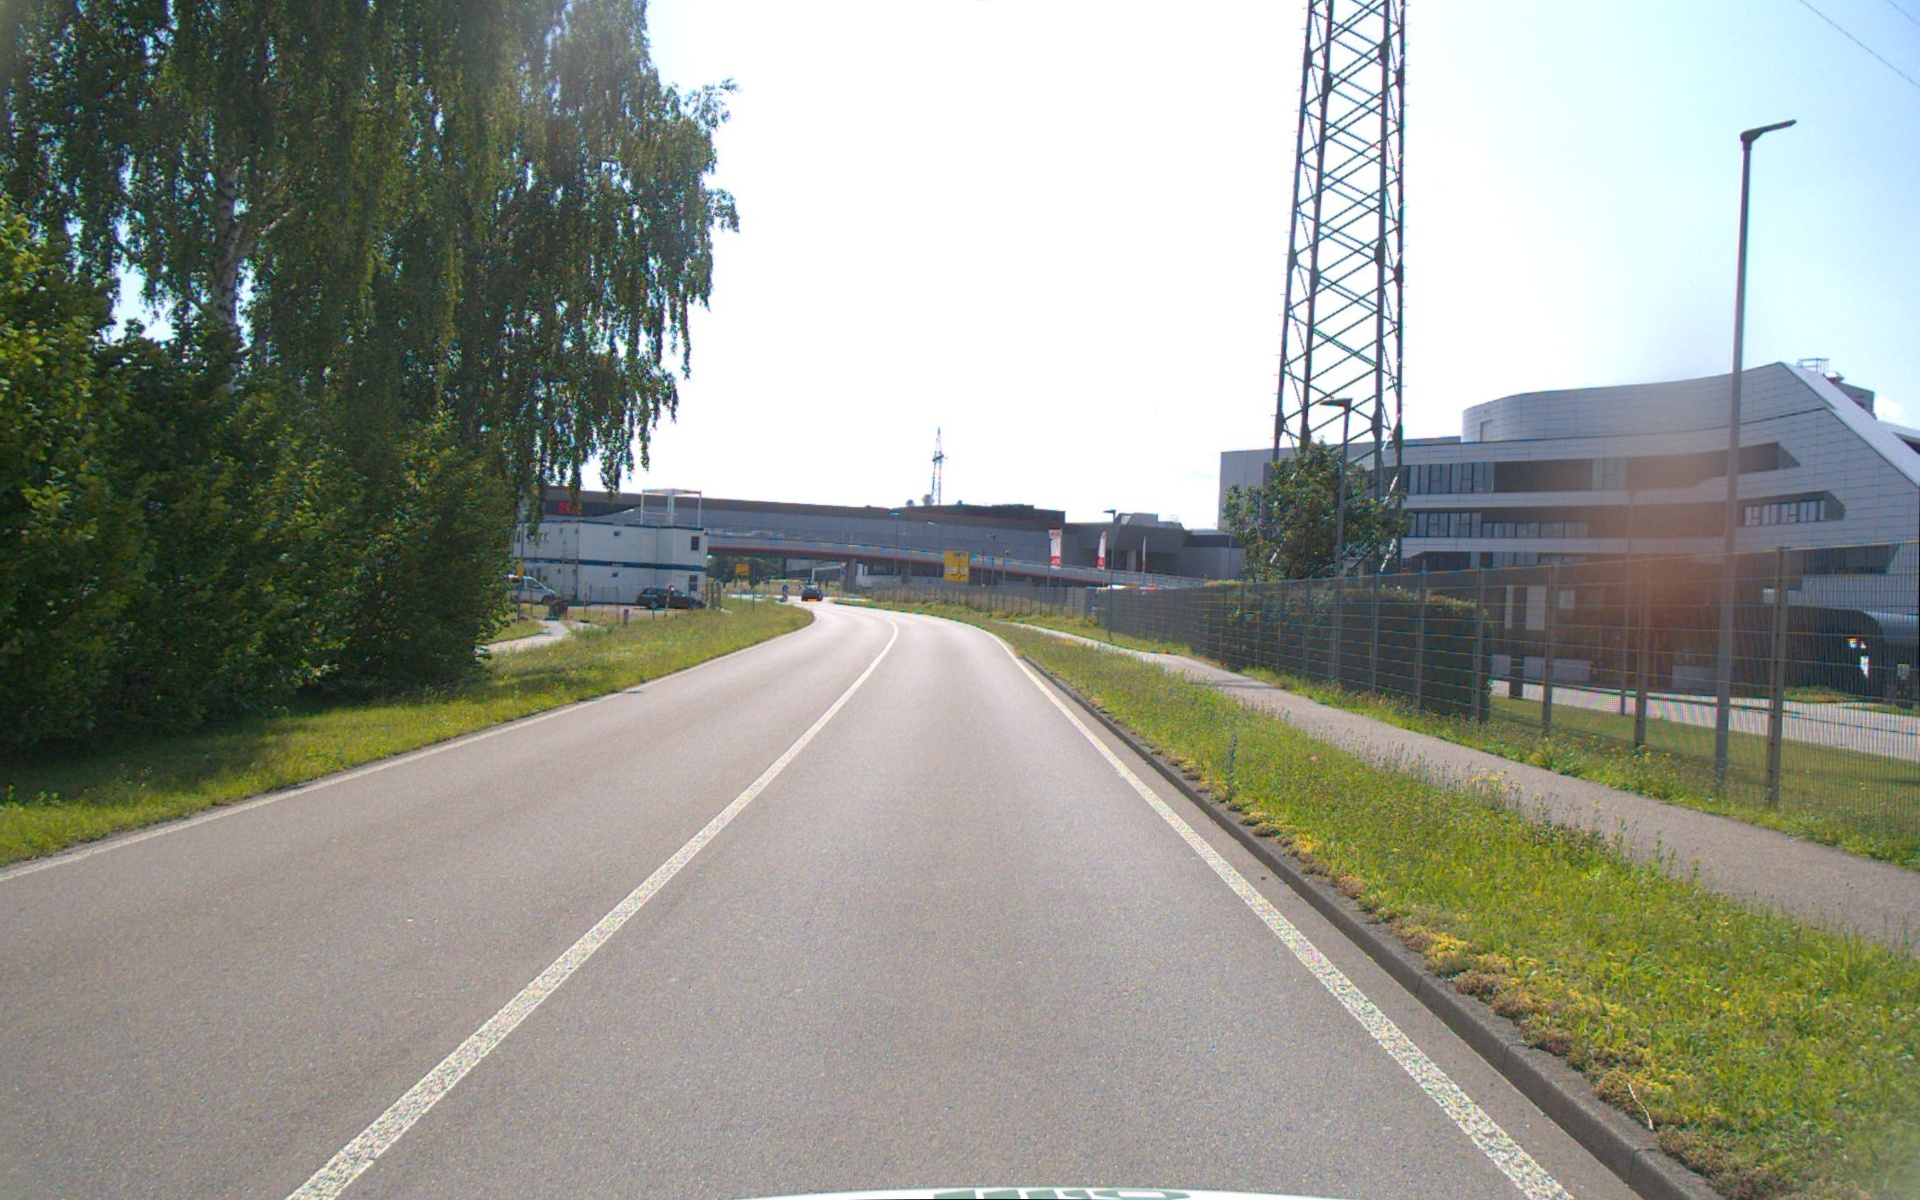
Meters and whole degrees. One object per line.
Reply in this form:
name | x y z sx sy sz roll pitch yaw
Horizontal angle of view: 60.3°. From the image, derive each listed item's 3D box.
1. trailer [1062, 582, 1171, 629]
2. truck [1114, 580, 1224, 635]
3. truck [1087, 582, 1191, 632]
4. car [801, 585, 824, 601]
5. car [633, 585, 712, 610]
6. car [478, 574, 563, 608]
trailer | 16.218 0.595 169.778 13.956 4.515 2.721 1 0 -45
truck | 17.568 0.679 138.119 10.888 4.331 2.980 1 0 -44
truck | 16.006 0.626 147.122 10.885 4.245 2.778 1 0 -44
car | -14.754 -0.667 165.654 1.953 1.571 3.999 1 0 -2
car | -19.125 -0.140 109.989 4.896 1.441 1.989 2 1 -20
car | -28.626 -0.573 107.872 4.974 1.899 1.971 3 0 -40
